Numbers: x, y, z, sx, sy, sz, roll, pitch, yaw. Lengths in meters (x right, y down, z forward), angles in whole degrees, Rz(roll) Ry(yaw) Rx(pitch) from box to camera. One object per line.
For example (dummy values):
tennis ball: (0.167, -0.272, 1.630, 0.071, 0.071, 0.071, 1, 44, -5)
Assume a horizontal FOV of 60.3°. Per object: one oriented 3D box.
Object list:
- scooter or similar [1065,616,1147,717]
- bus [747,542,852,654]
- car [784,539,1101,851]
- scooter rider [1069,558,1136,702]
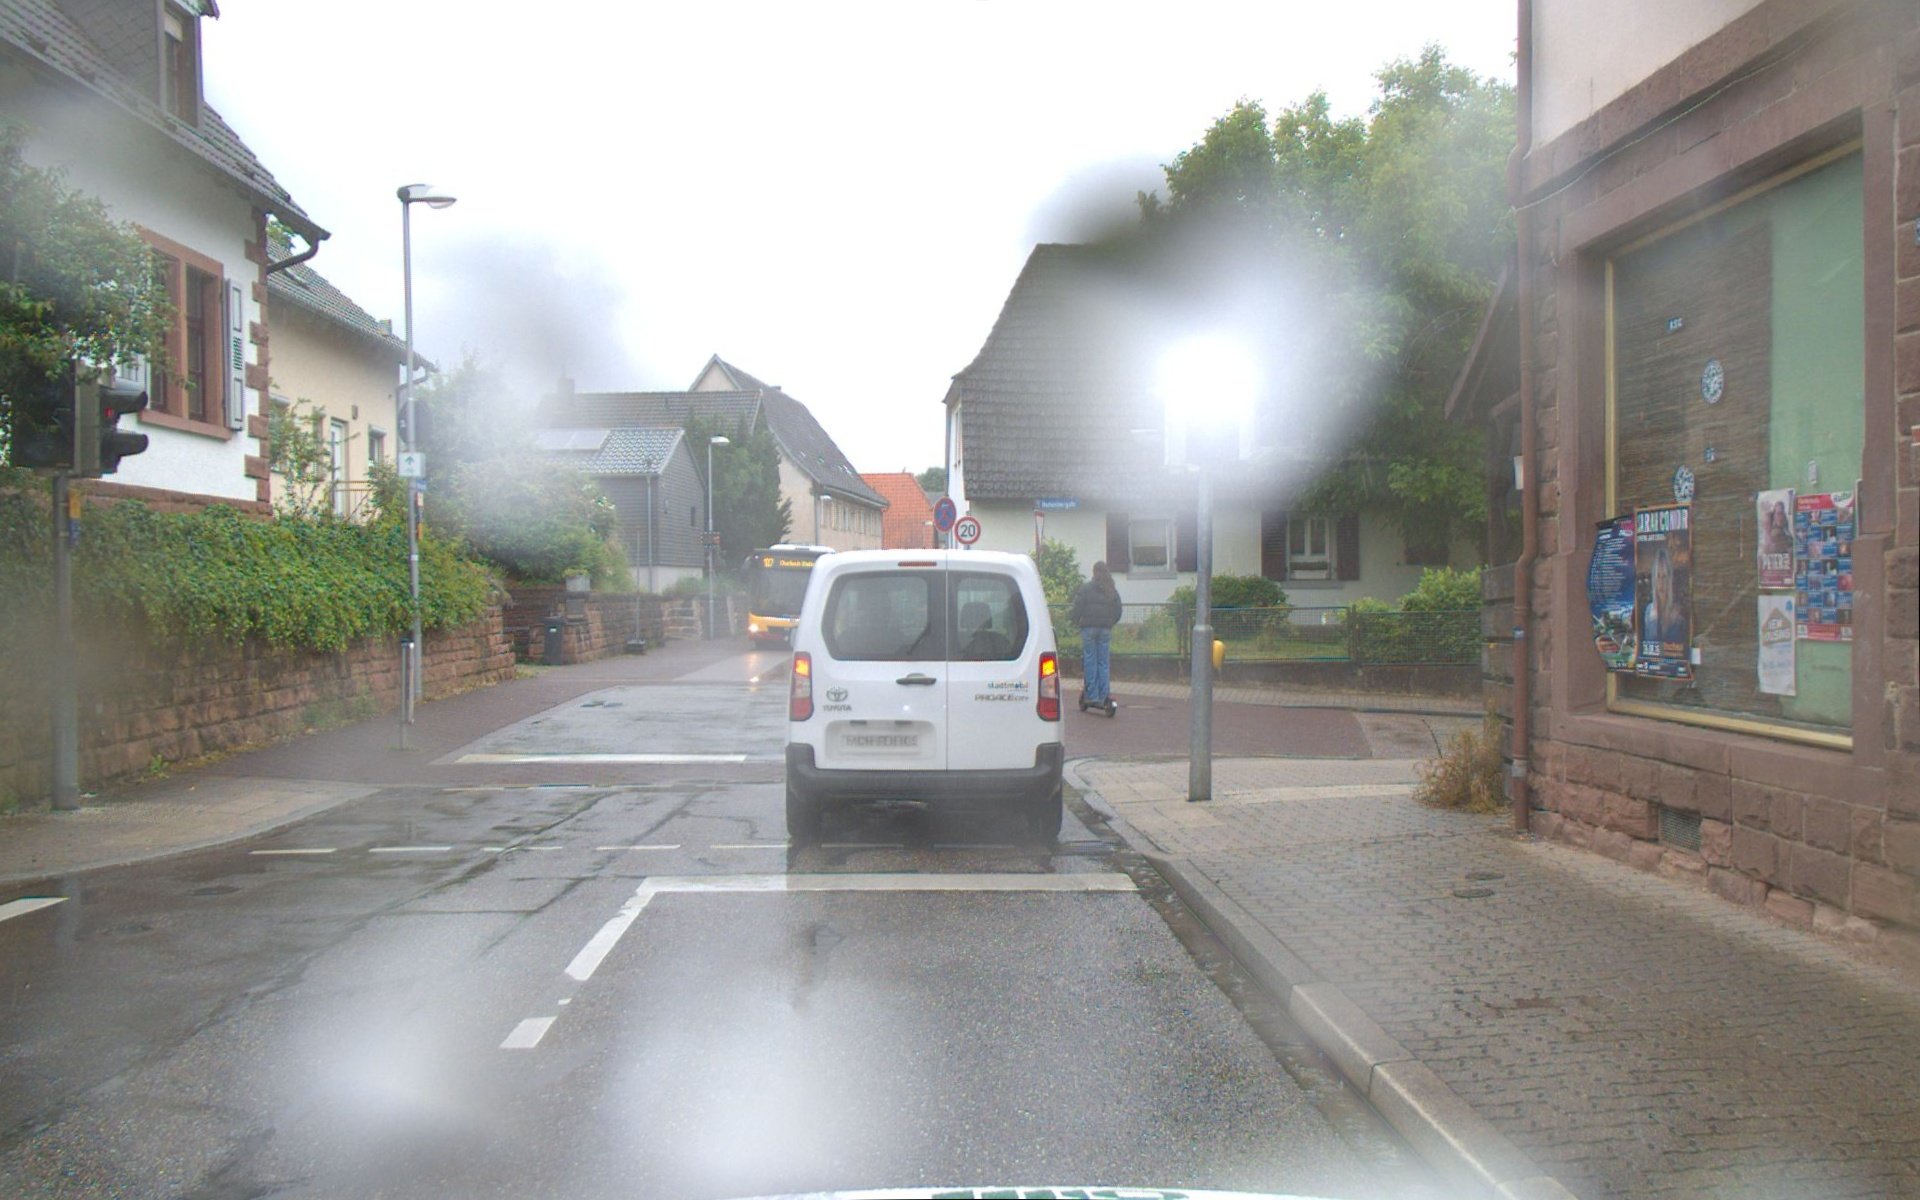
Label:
scooter or similar: (1.810, 0.808, 20.680, 0.610, 1.146, 1.397, 0, 2, -14)
bus: (-4.758, -0.245, 51.187, 2.596, 3.051, 12.188, 0, 2, -3)
car: (-0.181, 0.555, 11.699, 1.856, 1.825, 3.811, 1, 0, -3)
scooter rider: (1.785, 0.368, 20.805, 0.718, 1.763, 0.516, -1, 2, -14)
